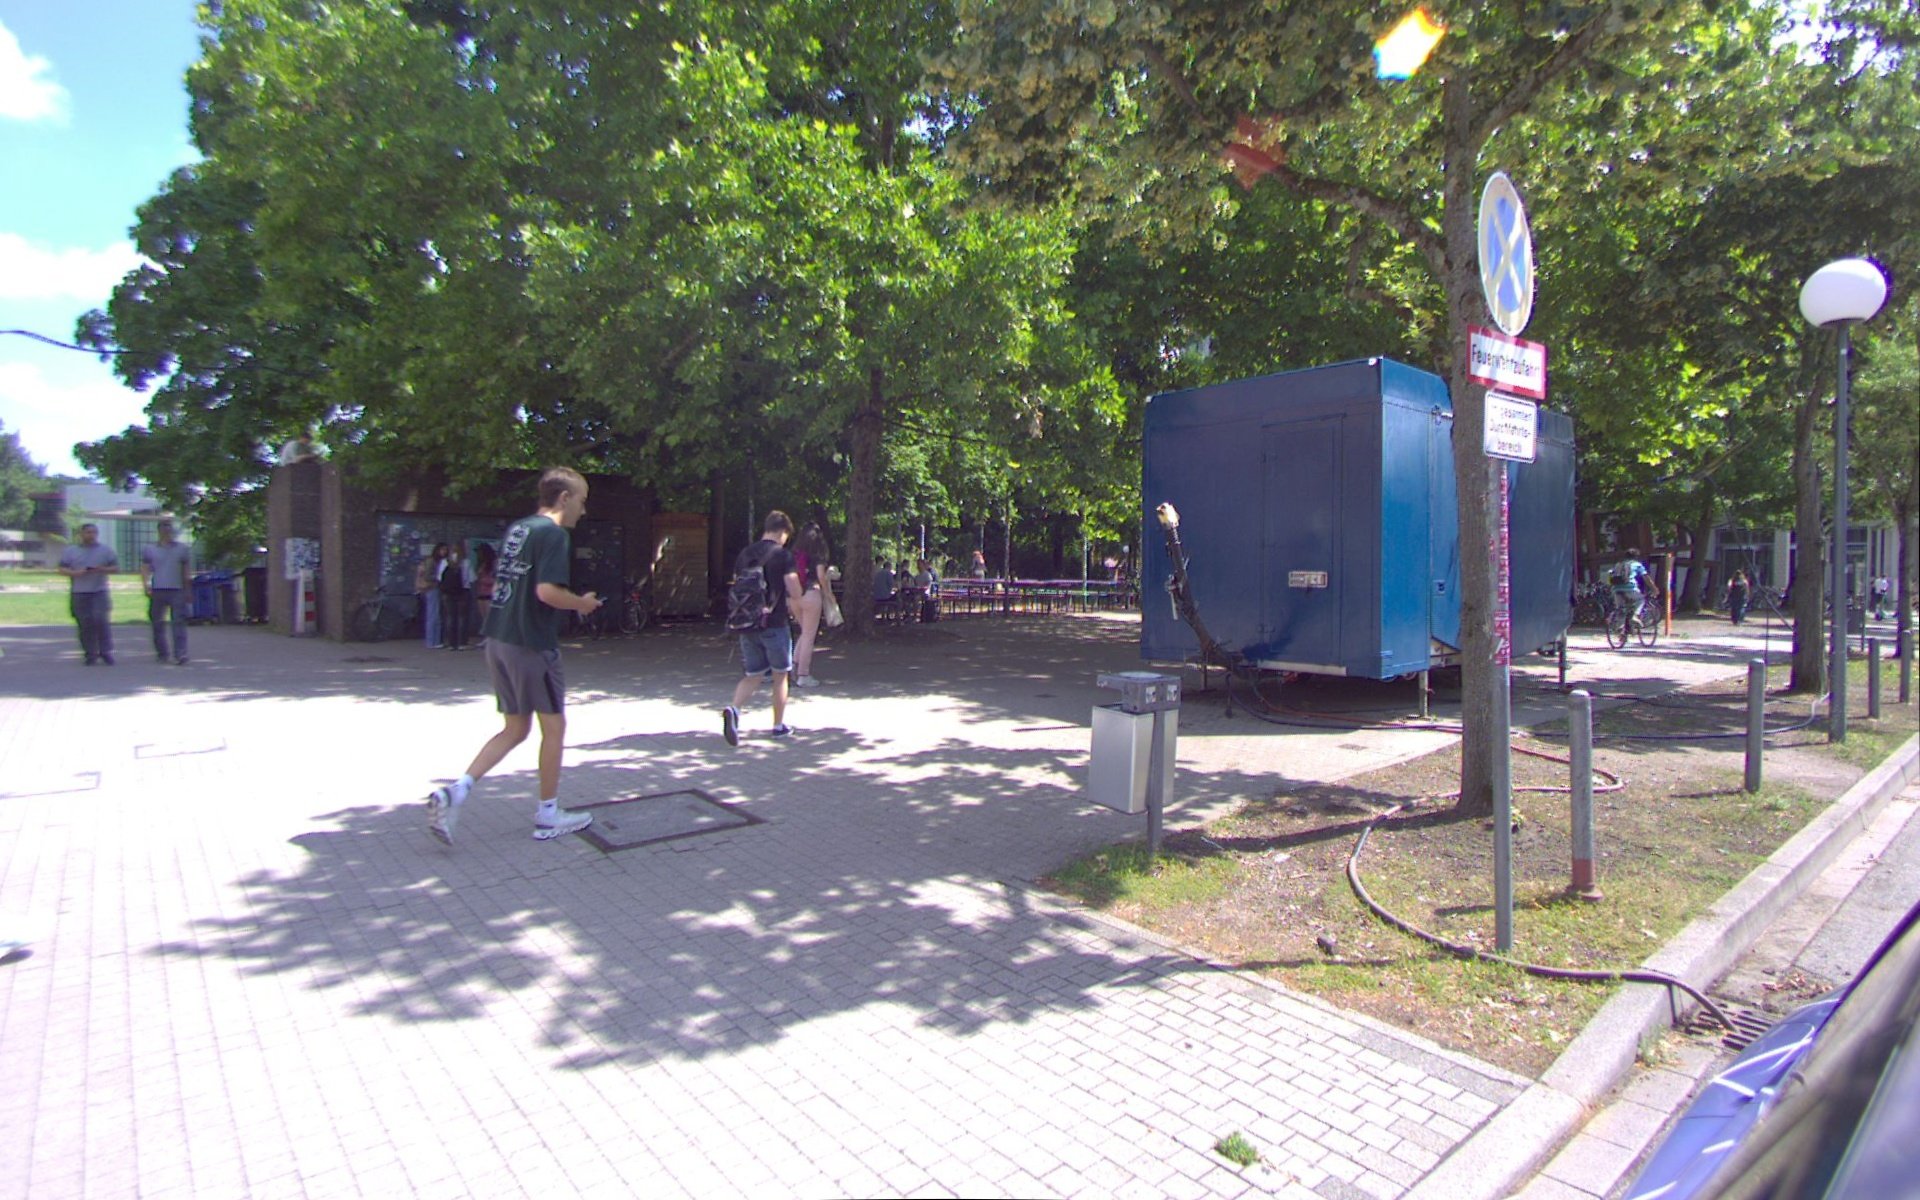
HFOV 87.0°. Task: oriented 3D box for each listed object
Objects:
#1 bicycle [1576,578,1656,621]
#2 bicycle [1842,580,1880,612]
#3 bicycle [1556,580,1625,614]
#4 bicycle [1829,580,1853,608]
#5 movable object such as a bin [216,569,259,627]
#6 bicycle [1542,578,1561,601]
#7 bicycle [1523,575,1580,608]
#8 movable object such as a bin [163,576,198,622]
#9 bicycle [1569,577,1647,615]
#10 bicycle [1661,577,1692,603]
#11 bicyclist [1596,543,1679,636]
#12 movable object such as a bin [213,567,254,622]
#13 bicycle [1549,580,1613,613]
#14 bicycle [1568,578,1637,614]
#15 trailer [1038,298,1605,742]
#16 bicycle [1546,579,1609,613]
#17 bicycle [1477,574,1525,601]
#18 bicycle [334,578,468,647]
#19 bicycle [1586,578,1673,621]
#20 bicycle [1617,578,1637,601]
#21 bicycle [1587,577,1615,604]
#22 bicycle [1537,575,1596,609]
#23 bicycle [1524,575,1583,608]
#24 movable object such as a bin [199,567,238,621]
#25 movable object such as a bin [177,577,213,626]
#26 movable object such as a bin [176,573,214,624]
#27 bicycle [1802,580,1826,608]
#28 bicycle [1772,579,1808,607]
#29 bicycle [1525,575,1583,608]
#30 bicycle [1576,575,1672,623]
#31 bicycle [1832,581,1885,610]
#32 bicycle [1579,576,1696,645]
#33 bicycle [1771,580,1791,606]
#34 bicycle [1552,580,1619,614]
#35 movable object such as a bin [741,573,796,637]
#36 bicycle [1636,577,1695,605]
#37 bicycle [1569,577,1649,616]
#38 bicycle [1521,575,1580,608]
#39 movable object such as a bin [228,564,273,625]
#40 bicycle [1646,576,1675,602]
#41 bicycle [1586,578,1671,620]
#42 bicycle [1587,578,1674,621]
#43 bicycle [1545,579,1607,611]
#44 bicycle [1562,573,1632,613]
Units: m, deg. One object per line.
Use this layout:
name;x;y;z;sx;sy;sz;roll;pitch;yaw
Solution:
bicycle;17.645;-0.037;27.237;1.764;1.095;0.432;2;1;39
bicycle;33.584;-0.162;37.747;0.622;1.097;1.674;-1;3;26
bicycle;19.928;-0.110;32.000;1.773;1.041;0.438;1;1;18
bicycle;37.323;-0.261;42.871;1.465;1.155;0.560;-1;4;-43
movable object such as a bin;-17.150;-0.045;24.011;0.754;1.337;0.783;1;0;-40
bicycle;30.261;-0.538;51.776;0.453;1.144;1.661;-2;-2;44
bicycle;22.338;-0.319;38.246;1.819;1.185;0.344;1;1;16
movable object such as a bin;-22.663;-0.030;29.426;0.754;1.337;0.783;1;0;-40
bicycle;18.997;-0.118;29.703;1.895;1.072;0.322;2;1;27
bicycle;33.539;-0.476;47.342;1.664;1.139;0.628;2;1;-35
bicyclist;12.025;-0.203;17.966;1.171;1.586;0.654;0;4;-27
movable object such as a bin;-17.825;-0.132;24.826;0.754;1.337;0.783;1;0;-40
bicycle;20.854;-0.130;34.017;1.771;1.083;0.424;1;1;20
bicycle;19.966;-0.129;31.492;1.713;1.065;0.492;1;1;14
trailer;3.901;-0.647;10.141;6.150;3.089;2.696;-1;3;-42
bicycle;20.998;-0.145;34.431;1.771;1.083;0.424;1;1;20
bicycle;23.827;-0.555;44.591;1.816;1.185;0.412;1;1;11
bicycle;-9.804;0.188;17.806;1.991;1.154;0.574;-1;1;-41
bicycle;18.084;-0.022;27.362;1.940;1.095;0.399;2;1;39
bicycle;32.271;-0.488;48.959;0.566;1.061;1.670;-2;-2;41
bicycle;27.714;-0.433;43.778;0.468;1.123;1.664;0;2;13
bicycle;22.088;-0.303;36.889;1.768;1.185;0.401;1;1;16
bicycle;22.038;-0.306;37.582;1.819;1.185;0.401;1;1;16
movable object such as a bin;-18.931;-0.147;25.832;0.754;1.337;0.783;1;0;-40
movable object such as a bin;-21.134;0.039;27.962;0.754;1.337;0.783;1;0;-40
movable object such as a bin;-20.422;-0.033;27.017;0.754;1.337;0.783;1;0;-40
bicycle;36.916;-0.269;43.746;1.464;1.155;0.560;1;2;-43
bicycle;36.185;-0.314;44.104;1.494;1.155;0.493;2;1;-21
bicycle;22.230;-0.331;37.911;1.819;1.185;0.344;1;1;16
bicycle;17.127;-0.048;26.124;2.010;1.181;0.643;2;1;39
bicycle;37.180;-0.201;41.893;1.750;1.155;0.607;1;3;-7
bicycle;12.069;0.163;18.018;2.249;1.137;0.654;0;4;-27
bicycle;36.373;-0.317;44.831;1.416;1.099;0.460;1;2;-43
bicycle;20.281;-0.111;32.834;1.769;1.041;0.380;1;1;18
movable object such as a bin;-3.365;0.076;17.815;0.729;1.084;0.600;-3;3;-40
bicycle;29.693;-0.378;42.598;1.896;1.123;0.630;0;2;13
bicycle;18.852;-0.111;29.431;1.895;1.072;0.322;2;1;27
bicycle;21.377;-0.314;36.677;1.768;1.185;0.401;1;1;16
movable object such as a bin;-16.056;-0.125;22.909;0.754;1.337;0.783;1;0;-40
bicycle;33.224;-0.501;48.008;1.665;1.165;0.627;2;2;-39
bicycle;18.680;-0.046;28.321;1.940;1.095;0.399;2;1;39
bicycle;18.333;-0.028;27.707;1.940;1.095;0.399;2;1;39
bicycle;21.580;-0.195;35.491;1.772;1.083;0.423;1;1;22
bicycle;19.431;-0.211;30.912;1.713;1.169;0.492;1;1;14
